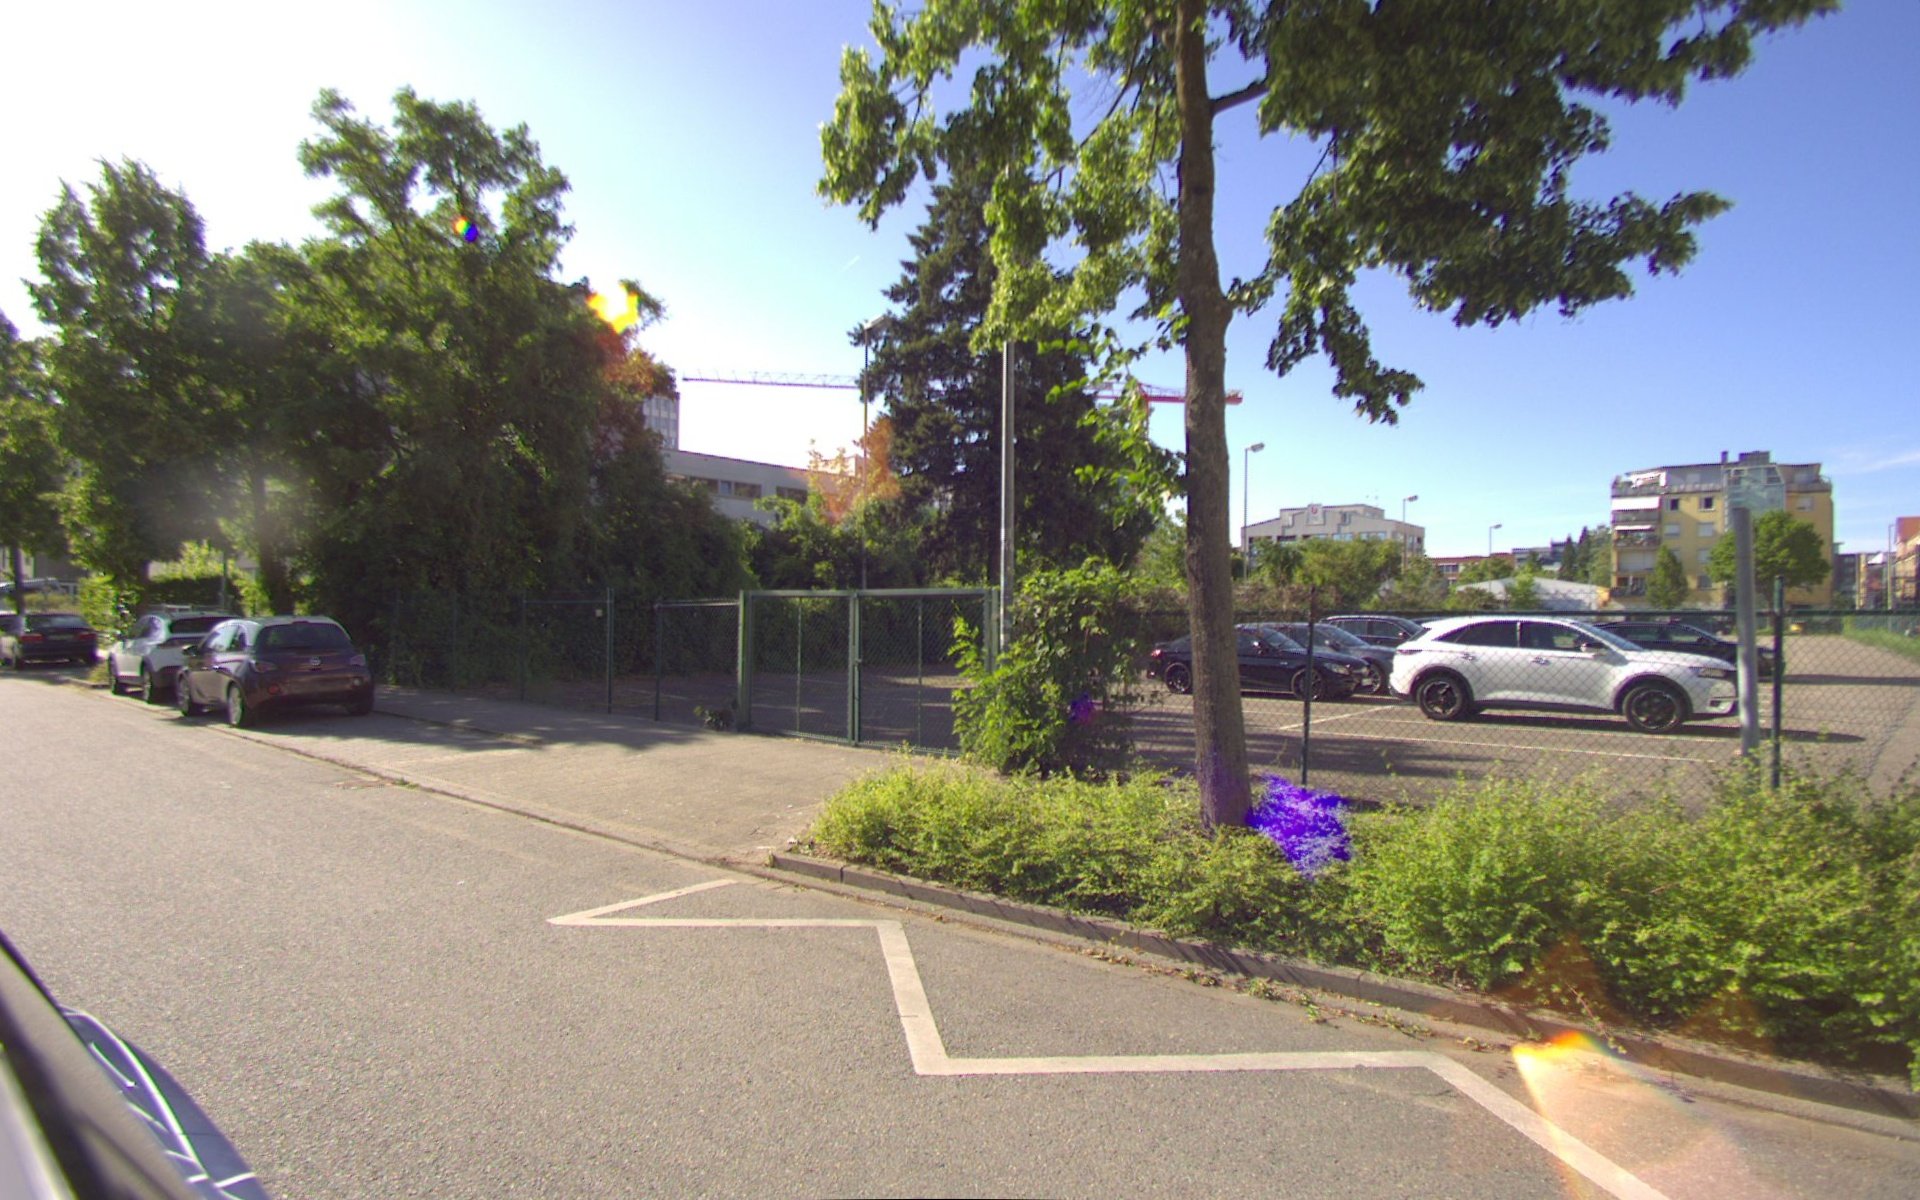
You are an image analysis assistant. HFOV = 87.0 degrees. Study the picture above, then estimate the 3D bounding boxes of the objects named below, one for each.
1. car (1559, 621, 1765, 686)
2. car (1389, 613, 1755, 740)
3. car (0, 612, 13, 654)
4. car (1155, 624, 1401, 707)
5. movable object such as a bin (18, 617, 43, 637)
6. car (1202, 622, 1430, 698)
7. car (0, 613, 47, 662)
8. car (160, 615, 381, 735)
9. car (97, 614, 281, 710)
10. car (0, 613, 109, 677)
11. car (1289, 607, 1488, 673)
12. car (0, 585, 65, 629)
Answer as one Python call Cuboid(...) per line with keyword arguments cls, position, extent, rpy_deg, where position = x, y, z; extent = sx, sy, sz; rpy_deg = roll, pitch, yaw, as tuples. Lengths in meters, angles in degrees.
Cuboid(cls="car", position=(18.411, 1.335, 26.636), extent=(4.243, 1.572, 1.871), rpy_deg=(-1, -1, 43))
Cuboid(cls="car", position=(9.074, 1.016, 15.238), extent=(4.426, 1.622, 1.972), rpy_deg=(-1, -1, 43))
Cuboid(cls="car", position=(-36.318, 1.207, 37.116), extent=(4.096, 1.485, 1.822), rpy_deg=(0, 1, 40))
Cuboid(cls="car", position=(6.352, 1.235, 20.520), extent=(4.374, 1.467, 1.945), rpy_deg=(-1, -1, 43))
Cuboid(cls="movable object such as a bin", position=(-49.686, 1.442, 54.121), extent=(0.677, 1.045, 0.852), rpy_deg=(0, 2, 37))
Cuboid(cls="car", position=(7.793, 1.245, 22.424), extent=(4.374, 1.506, 1.945), rpy_deg=(-1, -1, 43))
Cuboid(cls="car", position=(-31.510, 1.200, 33.160), extent=(4.024, 1.485, 1.822), rpy_deg=(0, 1, 40))
Cuboid(cls="car", position=(-10.245, 1.008, 14.973), extent=(3.541, 1.485, 1.701), rpy_deg=(0, 1, 38))
Cuboid(cls="car", position=(-14.118, 1.032, 18.457), extent=(3.999, 1.485, 1.822), rpy_deg=(0, 1, 40))
Cuboid(cls="car", position=(-24.383, 1.129, 27.025), extent=(4.356, 1.485, 1.822), rpy_deg=(0, 1, 40))
Cuboid(cls="car", position=(11.028, 0.991, 26.233), extent=(4.374, 1.572, 1.945), rpy_deg=(-1, -1, 43))
Cuboid(cls="car", position=(-63.253, 0.464, 67.393), extent=(2.010, 2.924, 5.093), rpy_deg=(0, -1, 36))
